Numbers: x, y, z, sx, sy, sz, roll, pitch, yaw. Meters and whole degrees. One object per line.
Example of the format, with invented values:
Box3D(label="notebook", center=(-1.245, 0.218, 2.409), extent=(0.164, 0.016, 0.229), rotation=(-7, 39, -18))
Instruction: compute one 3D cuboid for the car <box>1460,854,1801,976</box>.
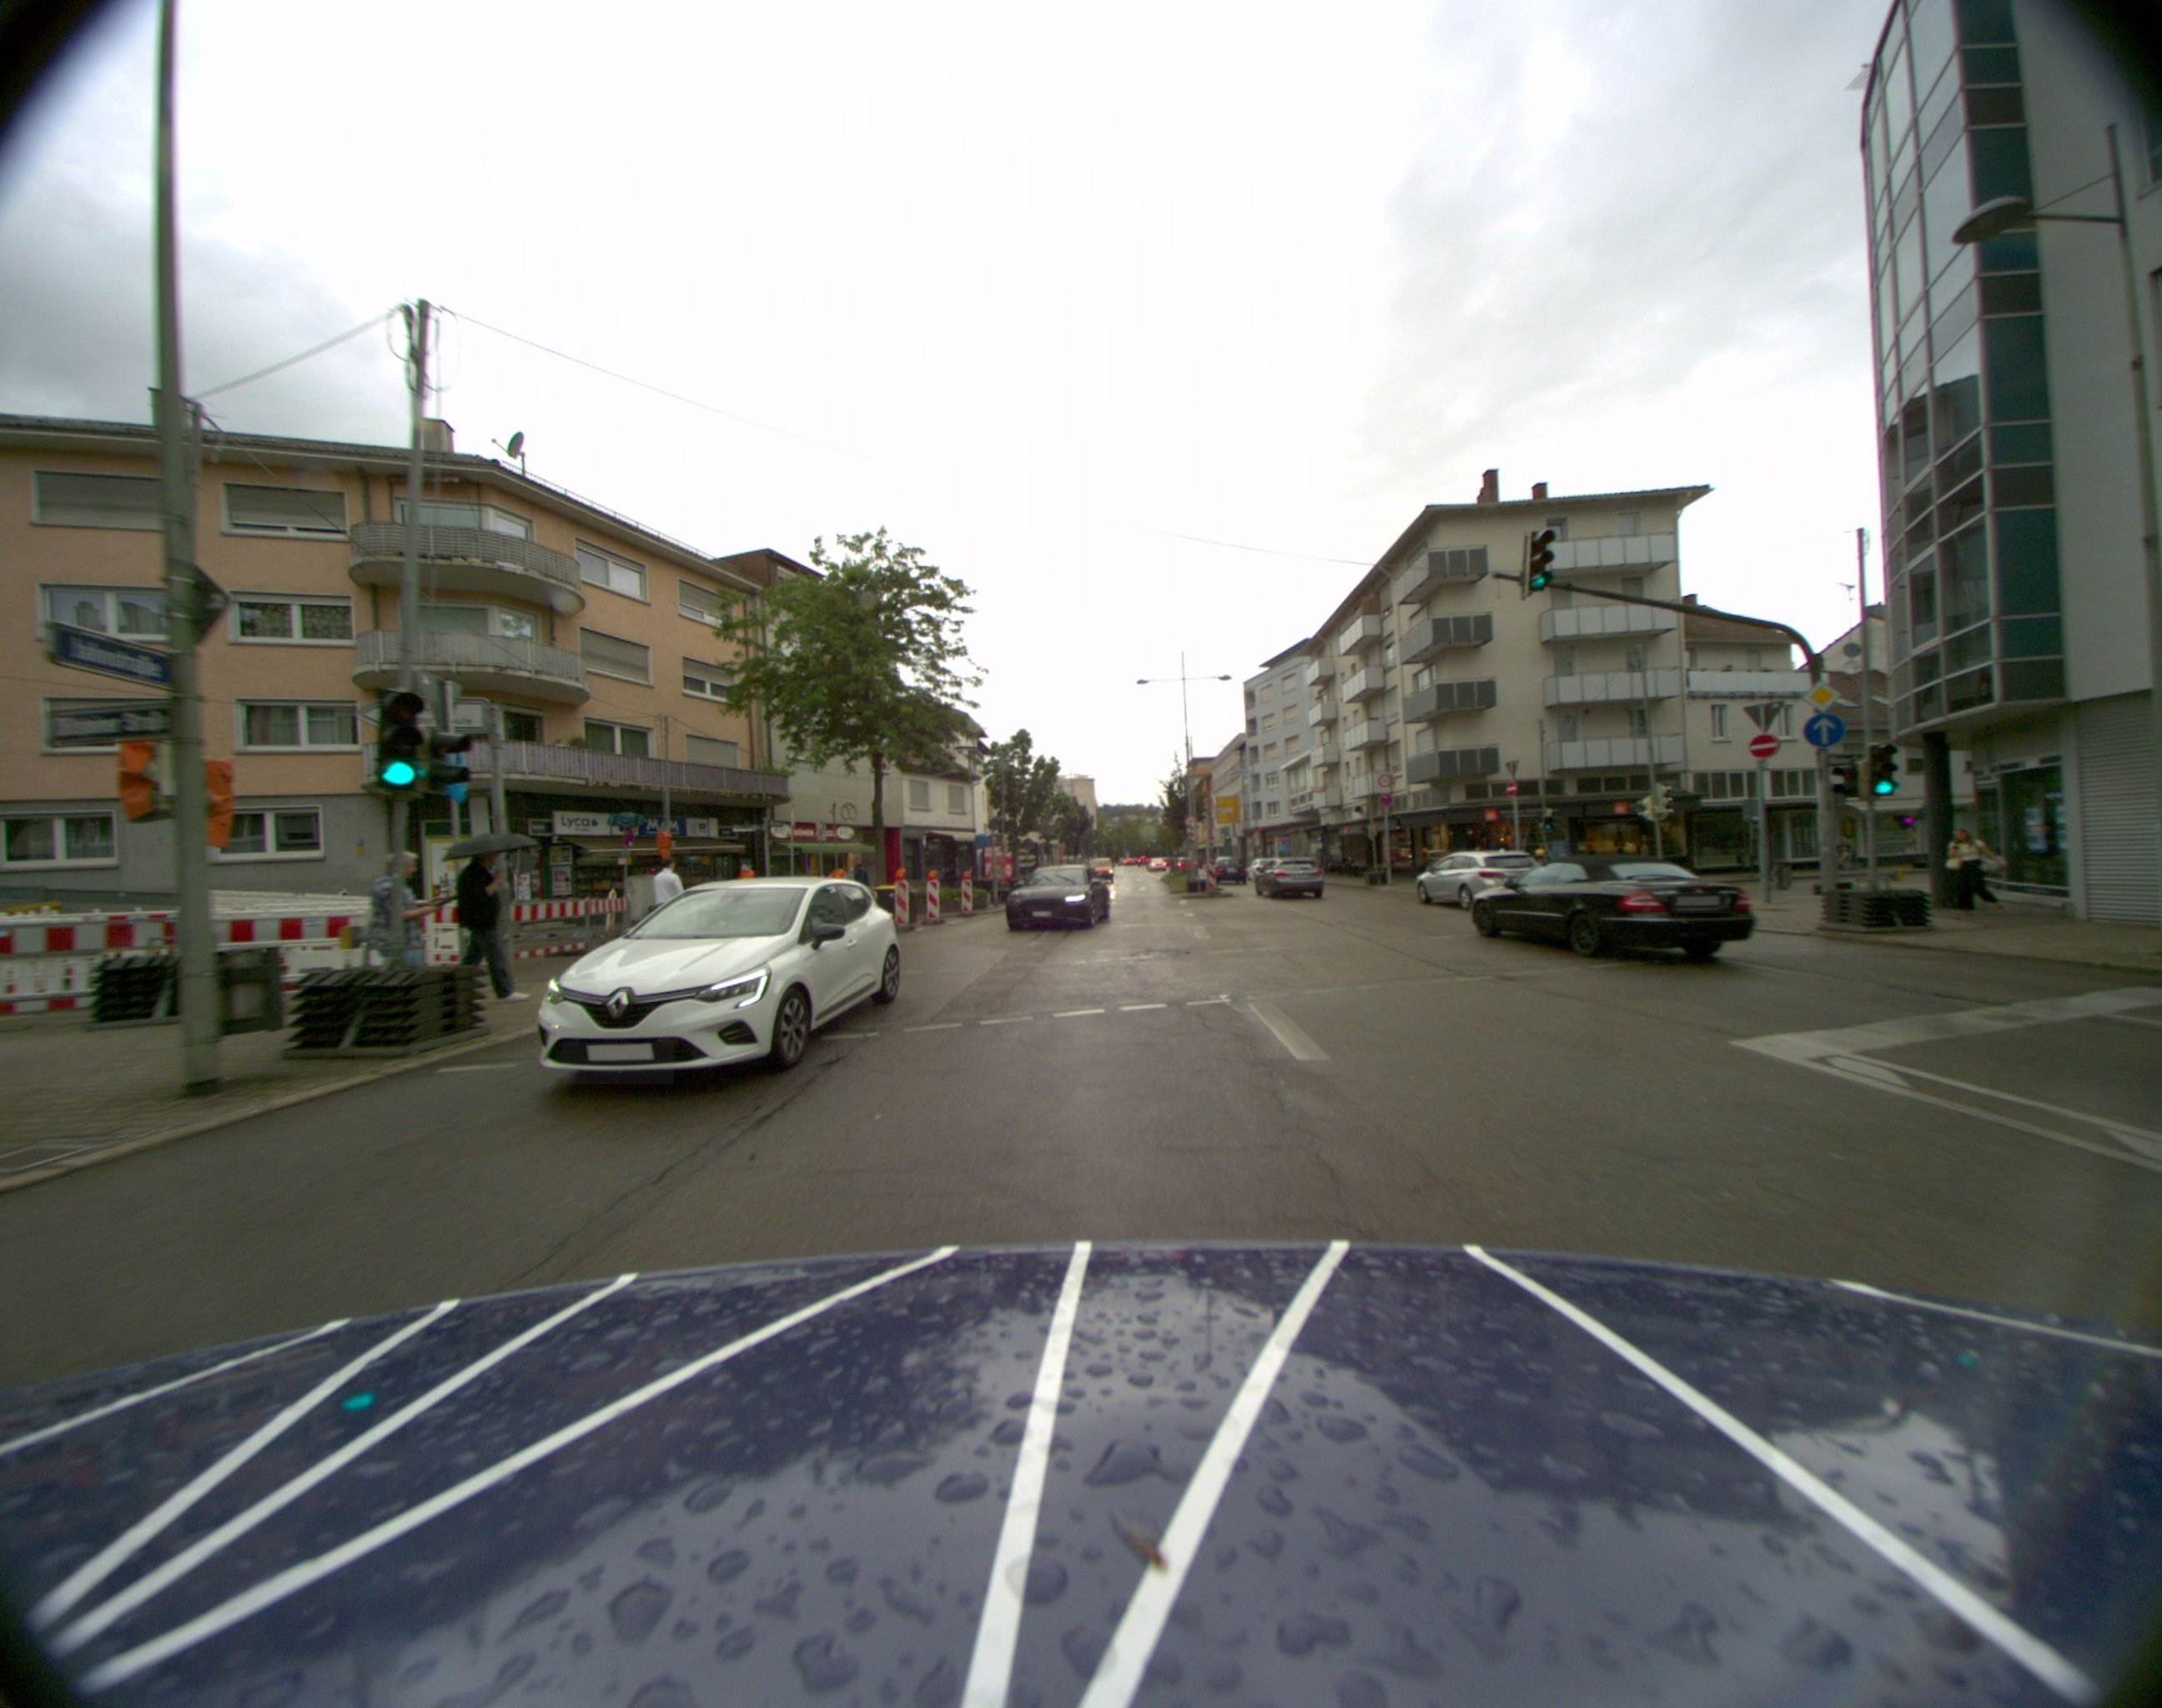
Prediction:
Box3D(label="car", center=(7.744, 0.738, 11.410), extent=(1.829, 1.358, 4.603), rotation=(-1, 1, 1))

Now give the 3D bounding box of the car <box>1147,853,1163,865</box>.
Box3D(label="car", center=(9.728, 0.652, 100.029), extent=(1.821, 1.432, 4.158), rotation=(-1, 0, 3))

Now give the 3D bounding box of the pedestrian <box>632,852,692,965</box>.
Box3D(label="pedestrian", center=(-7.301, 0.926, 13.281), extent=(0.658, 1.868, 0.992), rotation=(-2, -1, -15))

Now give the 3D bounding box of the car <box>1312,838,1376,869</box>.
Box3D(label="car", center=(19.167, -0.056, 55.429), extent=(3.996, 2.042, 1.895), rotation=(-3, 1, 4))

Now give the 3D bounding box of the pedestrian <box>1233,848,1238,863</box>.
Box3D(label="pedestrian", center=(17.753, 0.120, 87.144), extent=(0.513, 1.679, 0.531), rotation=(-1, 2, 3))

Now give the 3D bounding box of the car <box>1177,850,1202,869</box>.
Box3D(label="car", center=(9.461, 0.451, 66.335), extent=(1.851, 1.584, 4.092), rotation=(-2, 0, 4))

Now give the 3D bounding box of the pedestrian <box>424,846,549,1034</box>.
Box3D(label="pedestrian", center=(-6.406, 0.851, 8.227), extent=(0.921, 1.851, 1.028), rotation=(-3, 3, -37))

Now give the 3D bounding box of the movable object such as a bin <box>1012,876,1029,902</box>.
Box3D(label="movable object such as a bin", center=(-2.695, 1.549, 33.753), extent=(0.579, 1.104, 0.666), rotation=(-1, -1, 9))

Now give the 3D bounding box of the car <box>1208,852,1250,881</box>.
Box3D(label="car", center=(8.734, 0.714, 45.237), extent=(1.834, 1.534, 4.285), rotation=(-2, 0, 3))

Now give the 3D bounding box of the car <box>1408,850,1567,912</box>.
Box3D(label="car", center=(10.676, 0.628, 20.417), extent=(1.933, 1.465, 4.604), rotation=(0, 0, 2))

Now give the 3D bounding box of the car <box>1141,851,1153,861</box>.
Box3D(label="car", center=(11.132, 0.379, 128.478), extent=(1.776, 1.634, 3.841), rotation=(-1, 0, 3))

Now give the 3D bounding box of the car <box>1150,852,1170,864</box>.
Box3D(label="car", center=(9.077, 0.467, 87.278), extent=(1.849, 1.409, 4.615), rotation=(0, 0, 0))

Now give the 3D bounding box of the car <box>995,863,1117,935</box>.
Box3D(label="car", center=(-0.430, 1.017, 19.089), extent=(2.038, 1.379, 5.297), rotation=(-2, 1, 9))

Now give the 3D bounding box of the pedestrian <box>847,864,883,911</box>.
Box3D(label="pedestrian", center=(-8.473, 1.302, 29.816), extent=(0.968, 1.782, 0.908), rotation=(1, 2, 34))

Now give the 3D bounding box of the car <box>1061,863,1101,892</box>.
Box3D(label="car", center=(0.048, 1.166, 38.890), extent=(1.811, 1.331, 4.279), rotation=(-3, 0, 3))

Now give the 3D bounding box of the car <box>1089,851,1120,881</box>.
Box3D(label="car", center=(1.961, 0.932, 61.655), extent=(2.198, 2.074, 5.934), rotation=(-4, 1, 3))

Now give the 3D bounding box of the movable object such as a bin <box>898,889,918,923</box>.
Box3D(label="movable object such as a bin", center=(-4.879, 1.464, 21.421), extent=(0.420, 0.924, 0.532), rotation=(-1, -1, 3))

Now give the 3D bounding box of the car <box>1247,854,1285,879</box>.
Box3D(label="car", center=(11.909, 0.782, 49.173), extent=(1.776, 1.515, 4.285), rotation=(-2, 0, 5))

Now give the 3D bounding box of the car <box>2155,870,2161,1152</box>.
Box3D(label="car", center=(6.652, 0.795, 1.734), extent=(1.989, 1.451, 4.484), rotation=(-1, 0, -3))

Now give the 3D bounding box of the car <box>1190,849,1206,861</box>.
Box3D(label="car", center=(15.740, 0.174, 102.064), extent=(1.776, 1.579, 4.028), rotation=(-1, 0, 4))

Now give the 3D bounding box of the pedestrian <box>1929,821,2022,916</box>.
Box3D(label="pedestrian", center=(15.761, 0.248, 13.400), extent=(0.626, 1.598, 0.831), rotation=(-2, 0, -11))

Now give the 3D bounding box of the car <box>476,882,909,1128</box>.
Box3D(label="car", center=(-2.952, 1.051, 6.871), extent=(1.680, 1.395, 4.000), rotation=(-1, 0, 3))

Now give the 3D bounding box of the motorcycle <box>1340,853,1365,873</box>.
Box3D(label="motorcycle", center=(16.294, 0.544, 45.650), extent=(0.670, 1.081, 2.196), rotation=(-5, 1, 2))

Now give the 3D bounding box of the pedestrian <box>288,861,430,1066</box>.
Box3D(label="pedestrian", center=(-6.572, 0.929, 6.947), extent=(0.823, 1.679, 0.792), rotation=(-4, 3, -44))

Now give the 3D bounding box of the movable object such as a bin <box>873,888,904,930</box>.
Box3D(label="movable object such as a bin", center=(-4.900, 1.400, 19.359), extent=(0.622, 1.025, 0.532), rotation=(-1, -1, 3))

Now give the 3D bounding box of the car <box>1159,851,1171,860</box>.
Box3D(label="car", center=(13.085, 0.245, 118.744), extent=(1.702, 1.432, 3.841), rotation=(-1, 0, 3))

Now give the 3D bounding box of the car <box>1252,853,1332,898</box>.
Box3D(label="car", center=(7.764, 0.722, 28.403), extent=(1.857, 1.465, 4.649), rotation=(-2, 0, 3))
